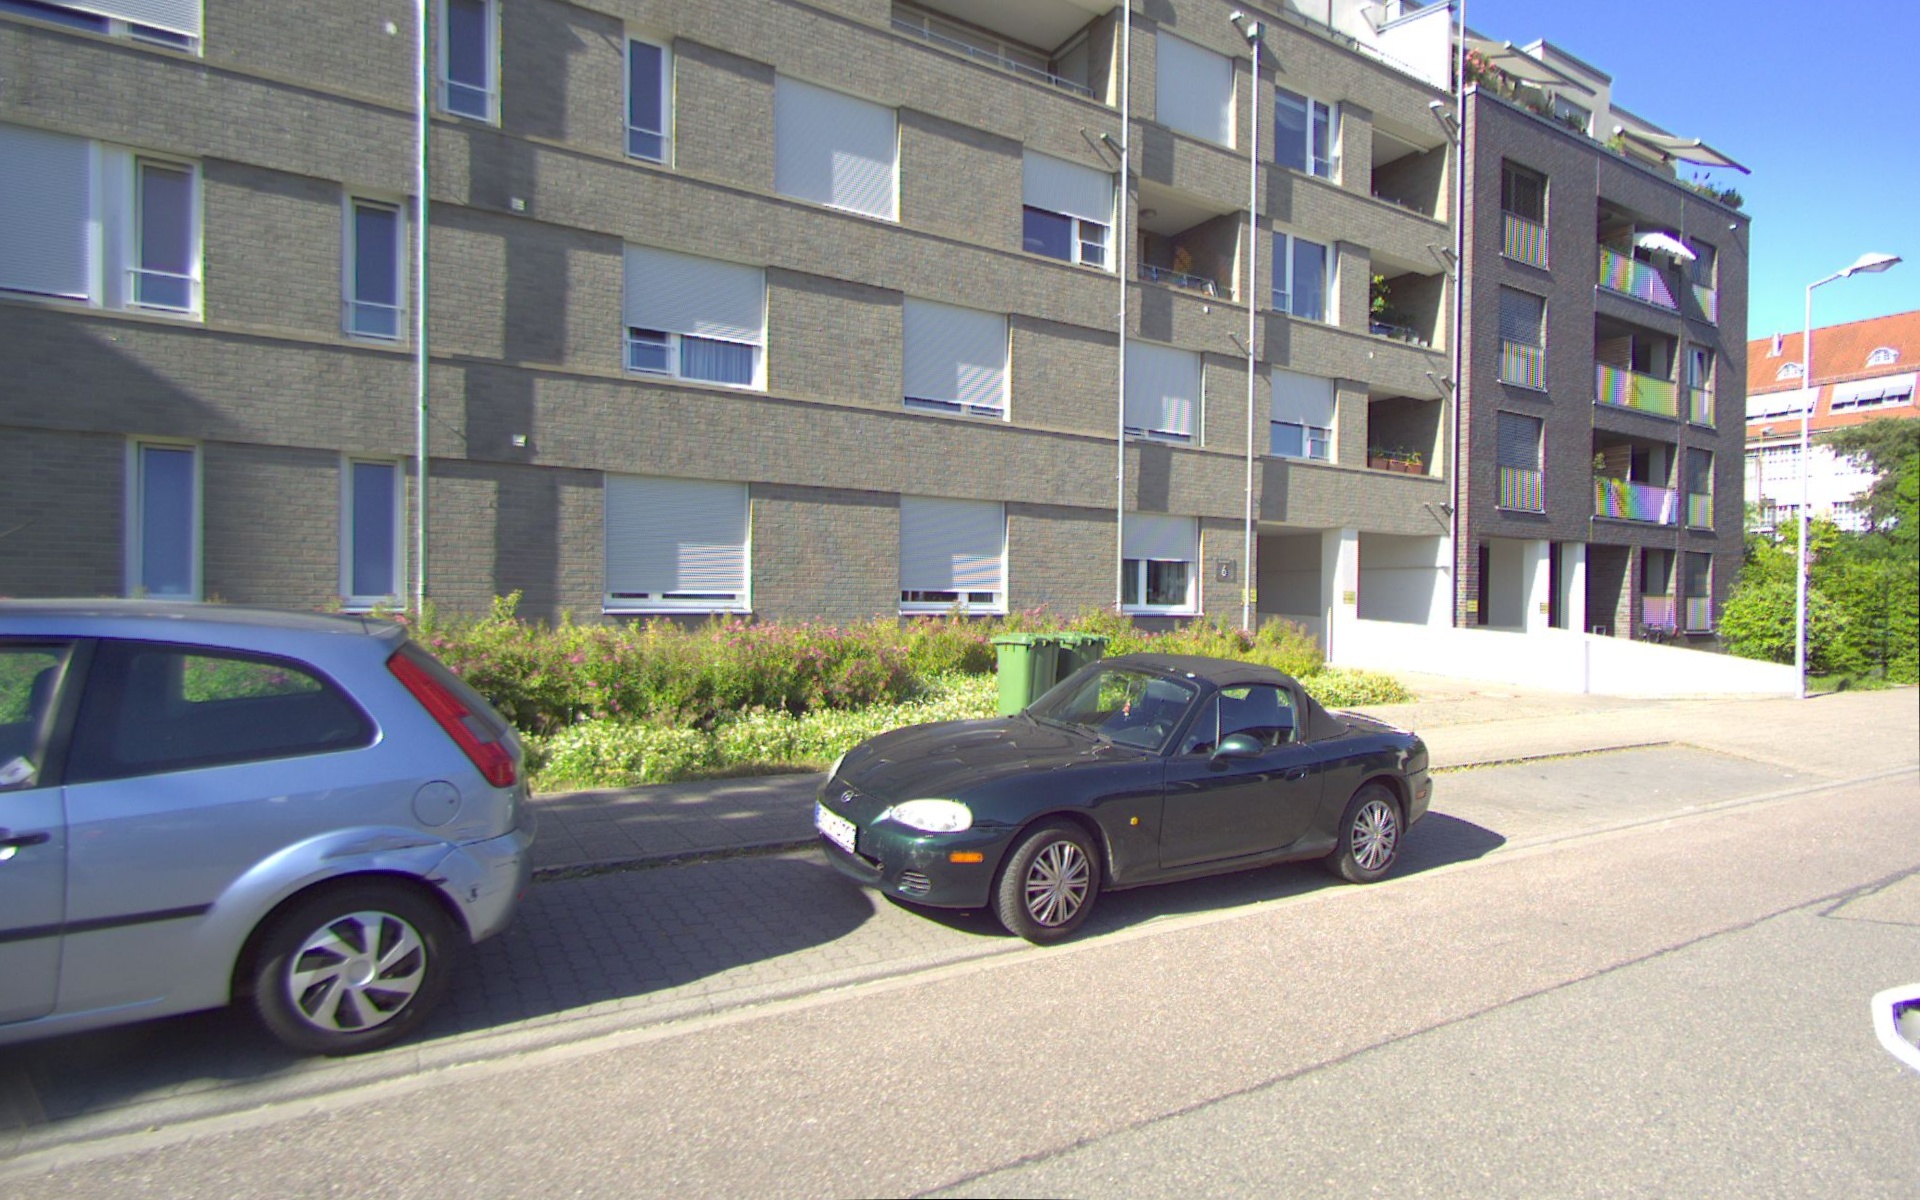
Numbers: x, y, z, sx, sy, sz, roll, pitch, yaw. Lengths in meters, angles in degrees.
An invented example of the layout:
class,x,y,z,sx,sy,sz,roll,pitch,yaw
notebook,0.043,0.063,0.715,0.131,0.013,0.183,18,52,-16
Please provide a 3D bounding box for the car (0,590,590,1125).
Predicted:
class,x,y,z,sx,sy,sz,roll,pitch,yaw
car,-3.377,0.708,3.276,3.832,1.484,1.602,1,-1,-33

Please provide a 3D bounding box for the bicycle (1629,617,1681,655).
class,x,y,z,sx,sy,sz,roll,pitch,yaw
bicycle,16.572,0.846,23.942,1.752,0.849,0.252,0,1,-28

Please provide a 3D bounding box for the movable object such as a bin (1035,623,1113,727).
class,x,y,z,sx,sy,sz,roll,pitch,yaw
movable object such as a bin,1.271,0.815,11.197,0.629,1.098,0.604,0,1,-32

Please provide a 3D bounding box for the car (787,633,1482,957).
class,x,y,z,sx,sy,sz,roll,pitch,yaw
car,1.100,0.860,5.807,3.830,1.233,1.591,1,2,-30

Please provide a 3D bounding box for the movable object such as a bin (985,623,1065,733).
class,x,y,z,sx,sy,sz,roll,pitch,yaw
movable object such as a bin,0.690,0.813,10.721,0.629,1.105,0.604,0,1,-32
